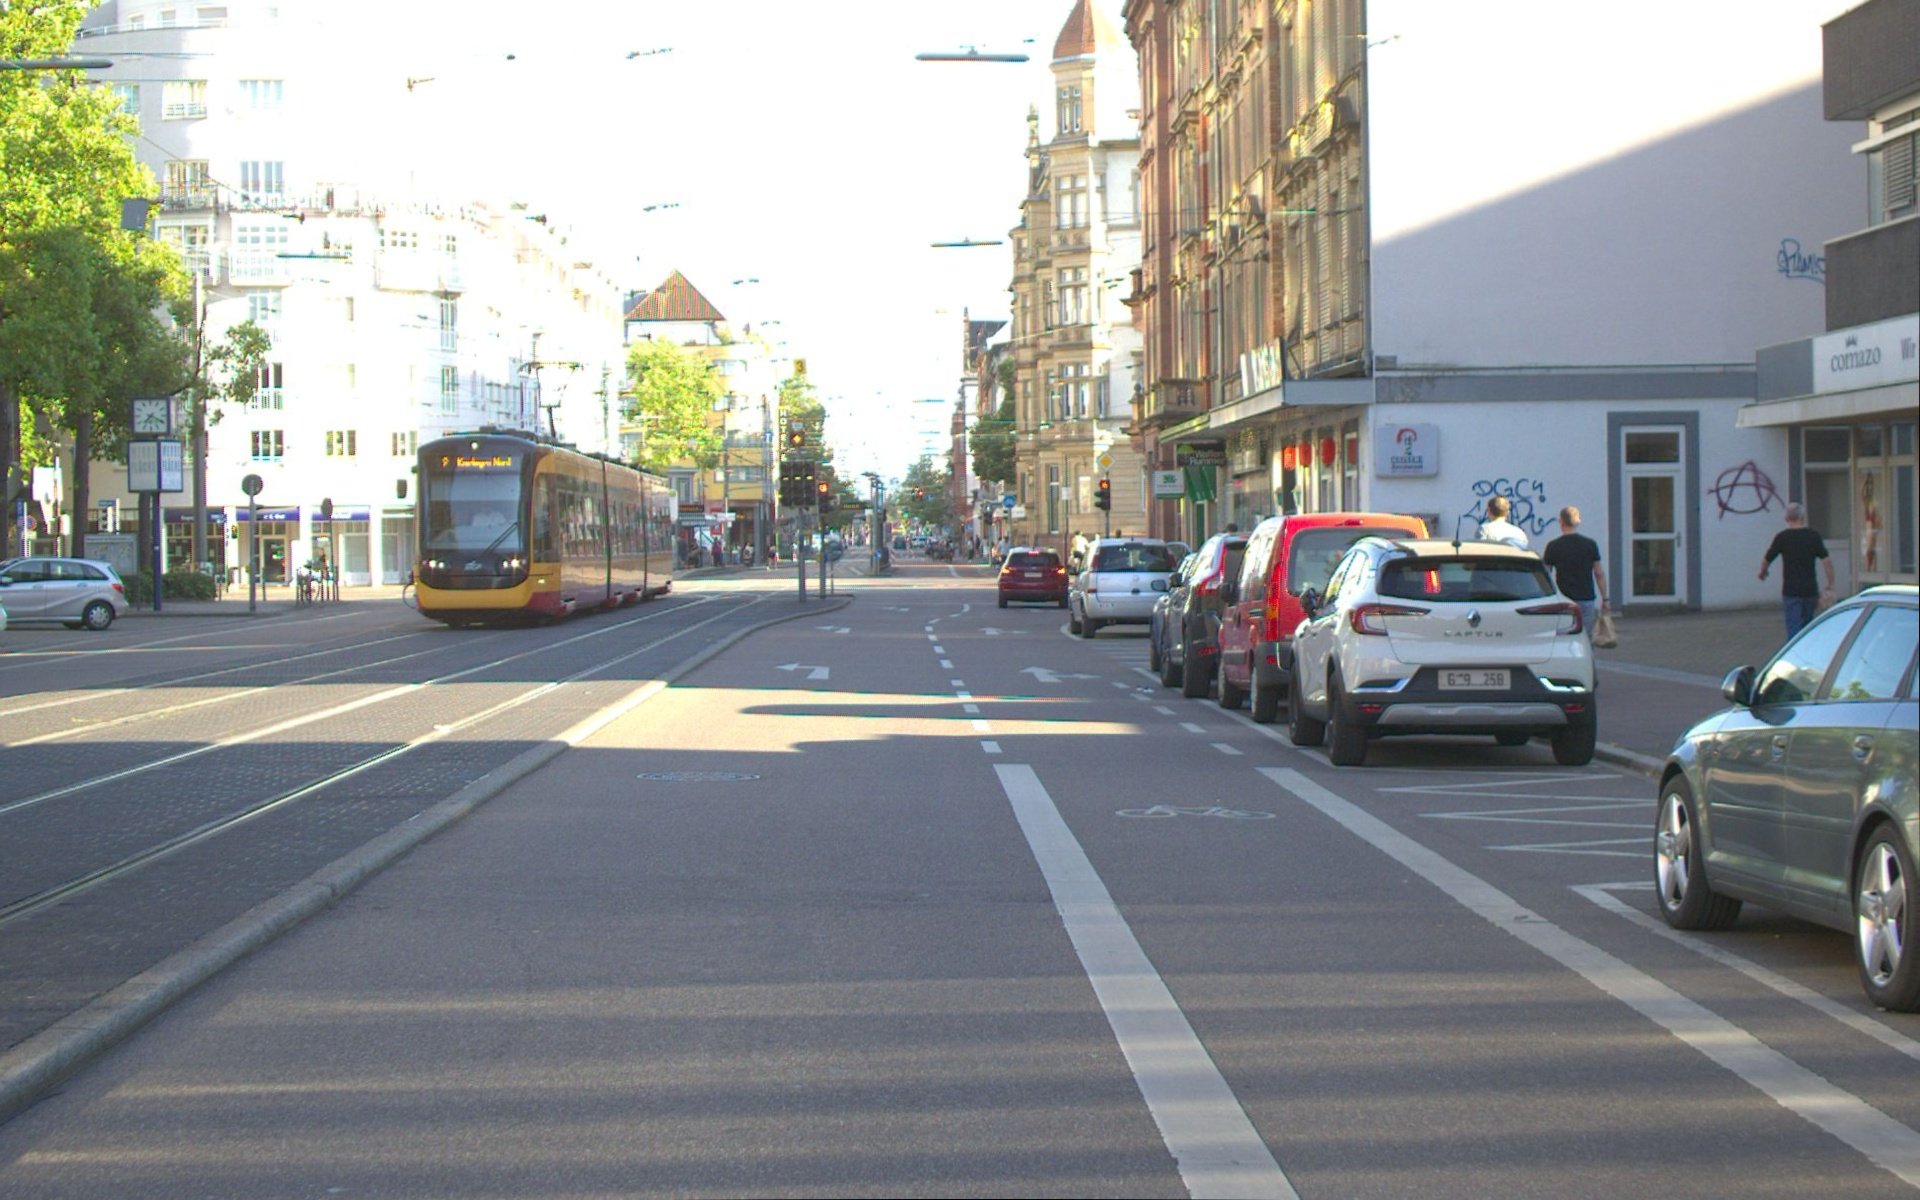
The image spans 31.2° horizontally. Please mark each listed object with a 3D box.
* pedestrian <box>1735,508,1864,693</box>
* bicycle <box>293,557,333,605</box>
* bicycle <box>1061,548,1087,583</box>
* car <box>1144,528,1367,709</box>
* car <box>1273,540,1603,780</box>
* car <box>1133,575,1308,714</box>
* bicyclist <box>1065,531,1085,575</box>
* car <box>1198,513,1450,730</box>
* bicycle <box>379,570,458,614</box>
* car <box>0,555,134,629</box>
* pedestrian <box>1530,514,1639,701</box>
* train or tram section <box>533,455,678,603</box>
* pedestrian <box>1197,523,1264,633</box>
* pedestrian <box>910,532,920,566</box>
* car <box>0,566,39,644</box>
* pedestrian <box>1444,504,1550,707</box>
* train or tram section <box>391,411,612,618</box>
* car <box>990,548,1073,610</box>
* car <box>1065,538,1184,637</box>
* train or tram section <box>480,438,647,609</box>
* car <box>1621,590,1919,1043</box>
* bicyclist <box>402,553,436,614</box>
[{"bbox_3d":[8.099,-0.003,33.200,0.900,1.707,1.033,-3,1,-1],"label":"pedestrian"},{"bbox_3d":[-18.468,-0.560,98.156,0.671,1.322,1.906,2,1,2],"label":"bicycle"},{"bbox_3d":[3.663,-1.109,110.260,0.421,1.093,1.412,0,1,20],"label":"bicycle"},{"bbox_3d":[3.013,0.146,35.880,1.820,1.751,4.475,1,1,-1],"label":"car"},{"bbox_3d":[3.373,0.371,25.007,1.787,1.590,4.326,0,1,0],"label":"car"},{"bbox_3d":[3.120,0.505,41.849,1.637,1.487,3.796,2,1,-2],"label":"car"},{"bbox_3d":[3.689,-1.510,110.351,0.421,1.404,0.658,-1,1,20],"label":"bicyclist"},{"bbox_3d":[3.211,0.151,31.025,1.675,1.802,4.249,1,1,-2],"label":"car"},{"bbox_3d":[-14.594,-0.222,92.683,2.018,1.173,0.628,0,0,-22],"label":"bicycle"},{"bbox_3d":[-20.029,-0.180,73.459,4.266,1.561,1.827,0,0,-32],"label":"car"},{"bbox_3d":[5.980,0.060,32.975,0.810,1.750,1.033,-1,1,-1],"label":"pedestrian"},{"bbox_3d":[-9.096,-1.797,89.586,2.675,3.539,12.842,-1,1,-1],"label":"train or tram section"},{"bbox_3d":[4.468,-0.370,56.832,0.946,1.786,1.055,-2,1,-1],"label":"pedestrian"},{"bbox_3d":[-2.643,-3.010,202.494,0.559,2.007,0.603,-1,1,-1],"label":"pedestrian"},{"bbox_3d":[-19.264,0.055,63.001,4.255,1.424,1.767,1,0,-31],"label":"car"},{"bbox_3d":[5.137,0.044,32.929,0.793,1.892,1.033,-1,1,-1],"label":"pedestrian"},{"bbox_3d":[-8.573,-1.556,65.766,2.758,3.539,12.468,-1,1,-1],"label":"train or tram section"},{"bbox_3d":[1.725,-0.535,84.182,1.754,1.461,3.946,1,1,-2],"label":"car"},{"bbox_3d":[2.724,-0.231,57.703,1.637,1.609,3.946,0,1,-2],"label":"car"},{"bbox_3d":[-8.818,-1.662,77.595,2.675,3.539,11.127,-1,1,-1],"label":"train or tram section"},{"bbox_3d":[3.738,0.681,12.484,1.674,1.400,4.168,1,0,-3],"label":"car"},{"bbox_3d":[-14.516,-0.449,92.265,0.729,1.621,0.766,0,0,-22],"label":"bicyclist"}]
